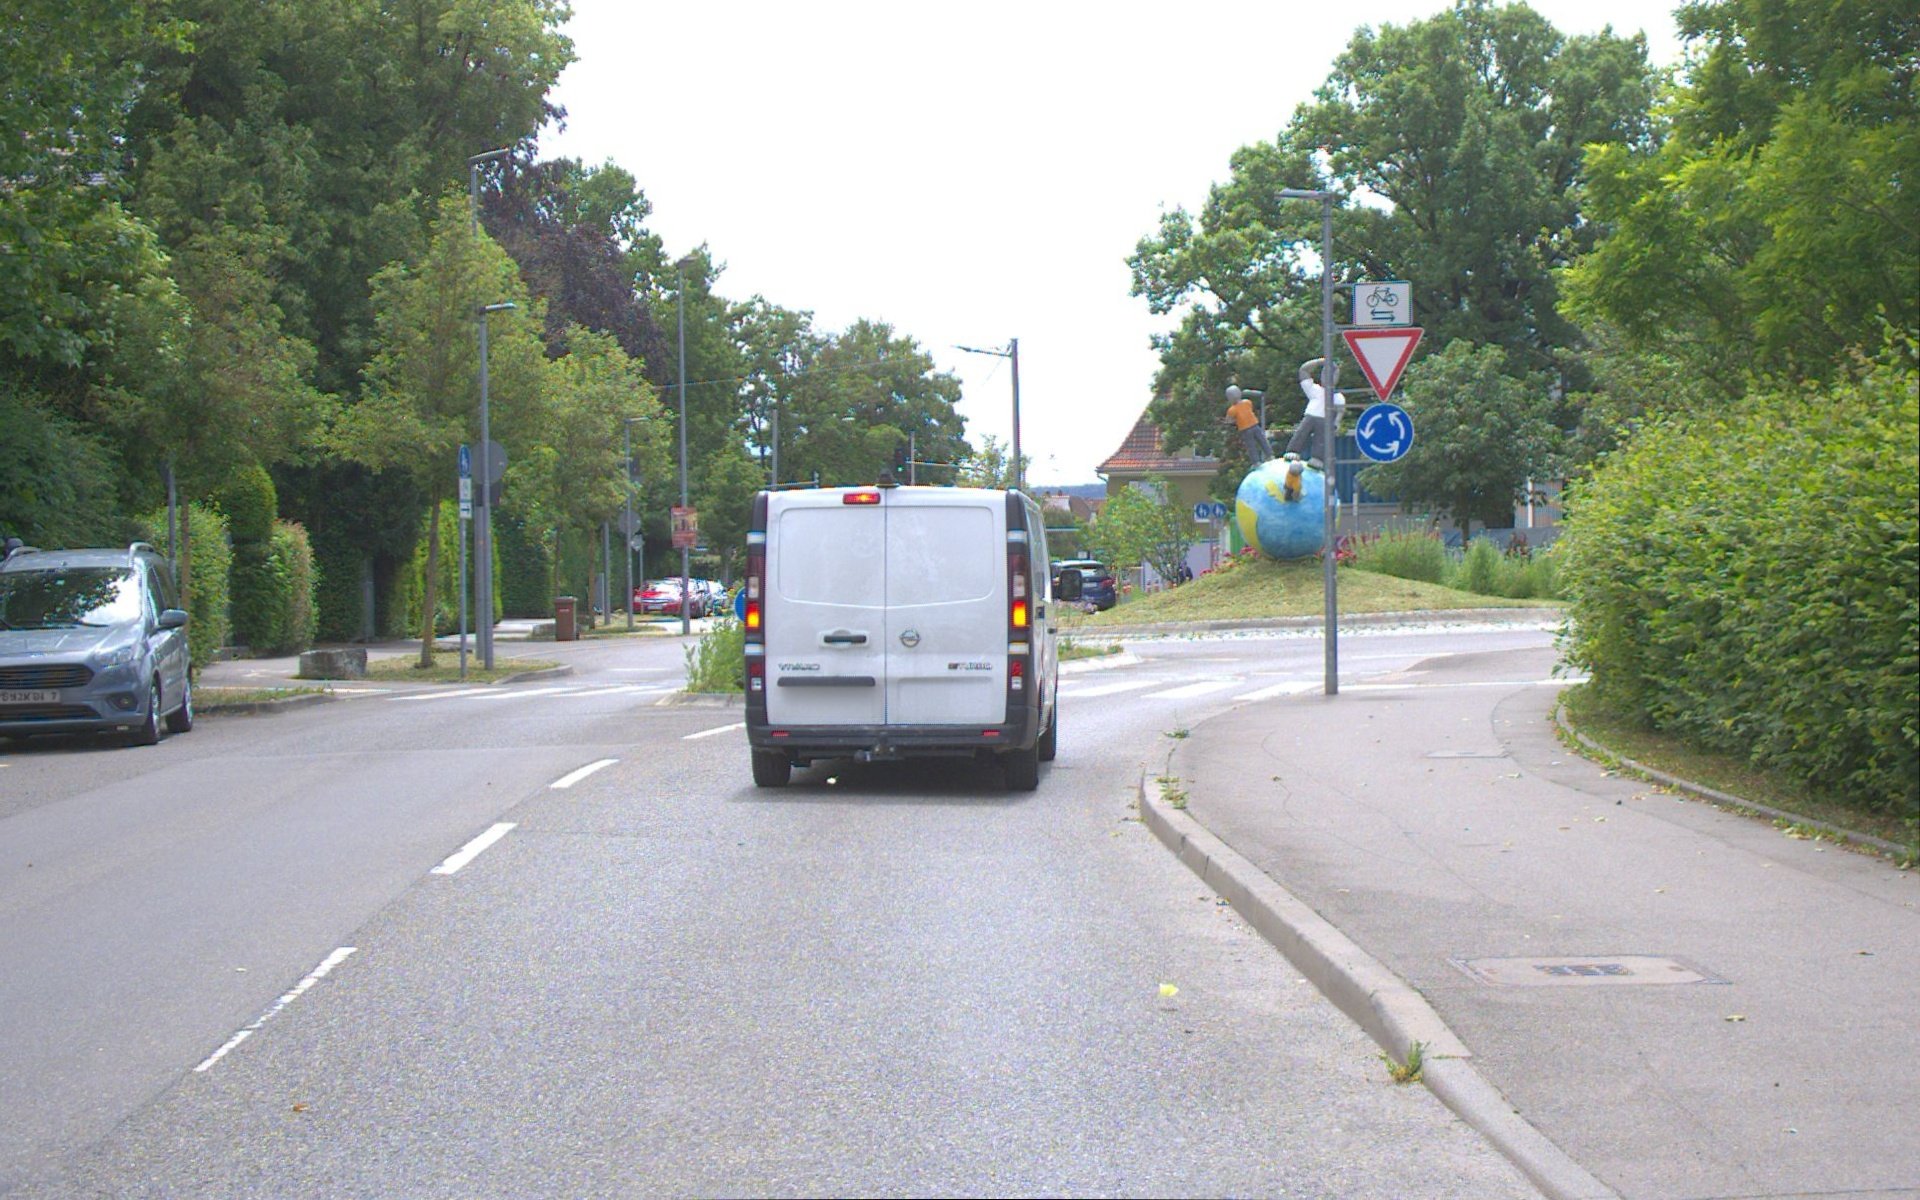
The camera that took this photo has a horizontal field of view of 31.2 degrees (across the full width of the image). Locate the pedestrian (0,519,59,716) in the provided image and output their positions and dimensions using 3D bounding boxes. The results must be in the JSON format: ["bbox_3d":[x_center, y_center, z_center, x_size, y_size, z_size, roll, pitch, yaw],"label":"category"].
[{"bbox_3d":[-9.936,0.176,35.749,0.871,2.007,1.041,-2,1,-5],"label":"pedestrian"}]

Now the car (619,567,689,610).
[{"bbox_3d":[-10.710,-0.413,120.041,2.062,1.381,4.049,-1,2,-10],"label":"car"}]

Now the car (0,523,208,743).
[{"bbox_3d":[-7.938,0.223,30.465,2.131,1.766,4.466,1,1,-8],"label":"car"}]

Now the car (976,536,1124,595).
[{"bbox_3d":[2.432,-0.961,93.367,1.933,1.532,3.924,-2,2,-39],"label":"car"}]

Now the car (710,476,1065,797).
[{"bbox_3d":[-0.372,0.166,23.687,2.035,1.938,4.993,1,1,3],"label":"car"}]

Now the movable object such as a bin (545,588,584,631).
[{"bbox_3d":[-8.353,0.199,72.634,0.630,0.860,0.640,-2,1,10],"label":"movable object such as a bin"}]
